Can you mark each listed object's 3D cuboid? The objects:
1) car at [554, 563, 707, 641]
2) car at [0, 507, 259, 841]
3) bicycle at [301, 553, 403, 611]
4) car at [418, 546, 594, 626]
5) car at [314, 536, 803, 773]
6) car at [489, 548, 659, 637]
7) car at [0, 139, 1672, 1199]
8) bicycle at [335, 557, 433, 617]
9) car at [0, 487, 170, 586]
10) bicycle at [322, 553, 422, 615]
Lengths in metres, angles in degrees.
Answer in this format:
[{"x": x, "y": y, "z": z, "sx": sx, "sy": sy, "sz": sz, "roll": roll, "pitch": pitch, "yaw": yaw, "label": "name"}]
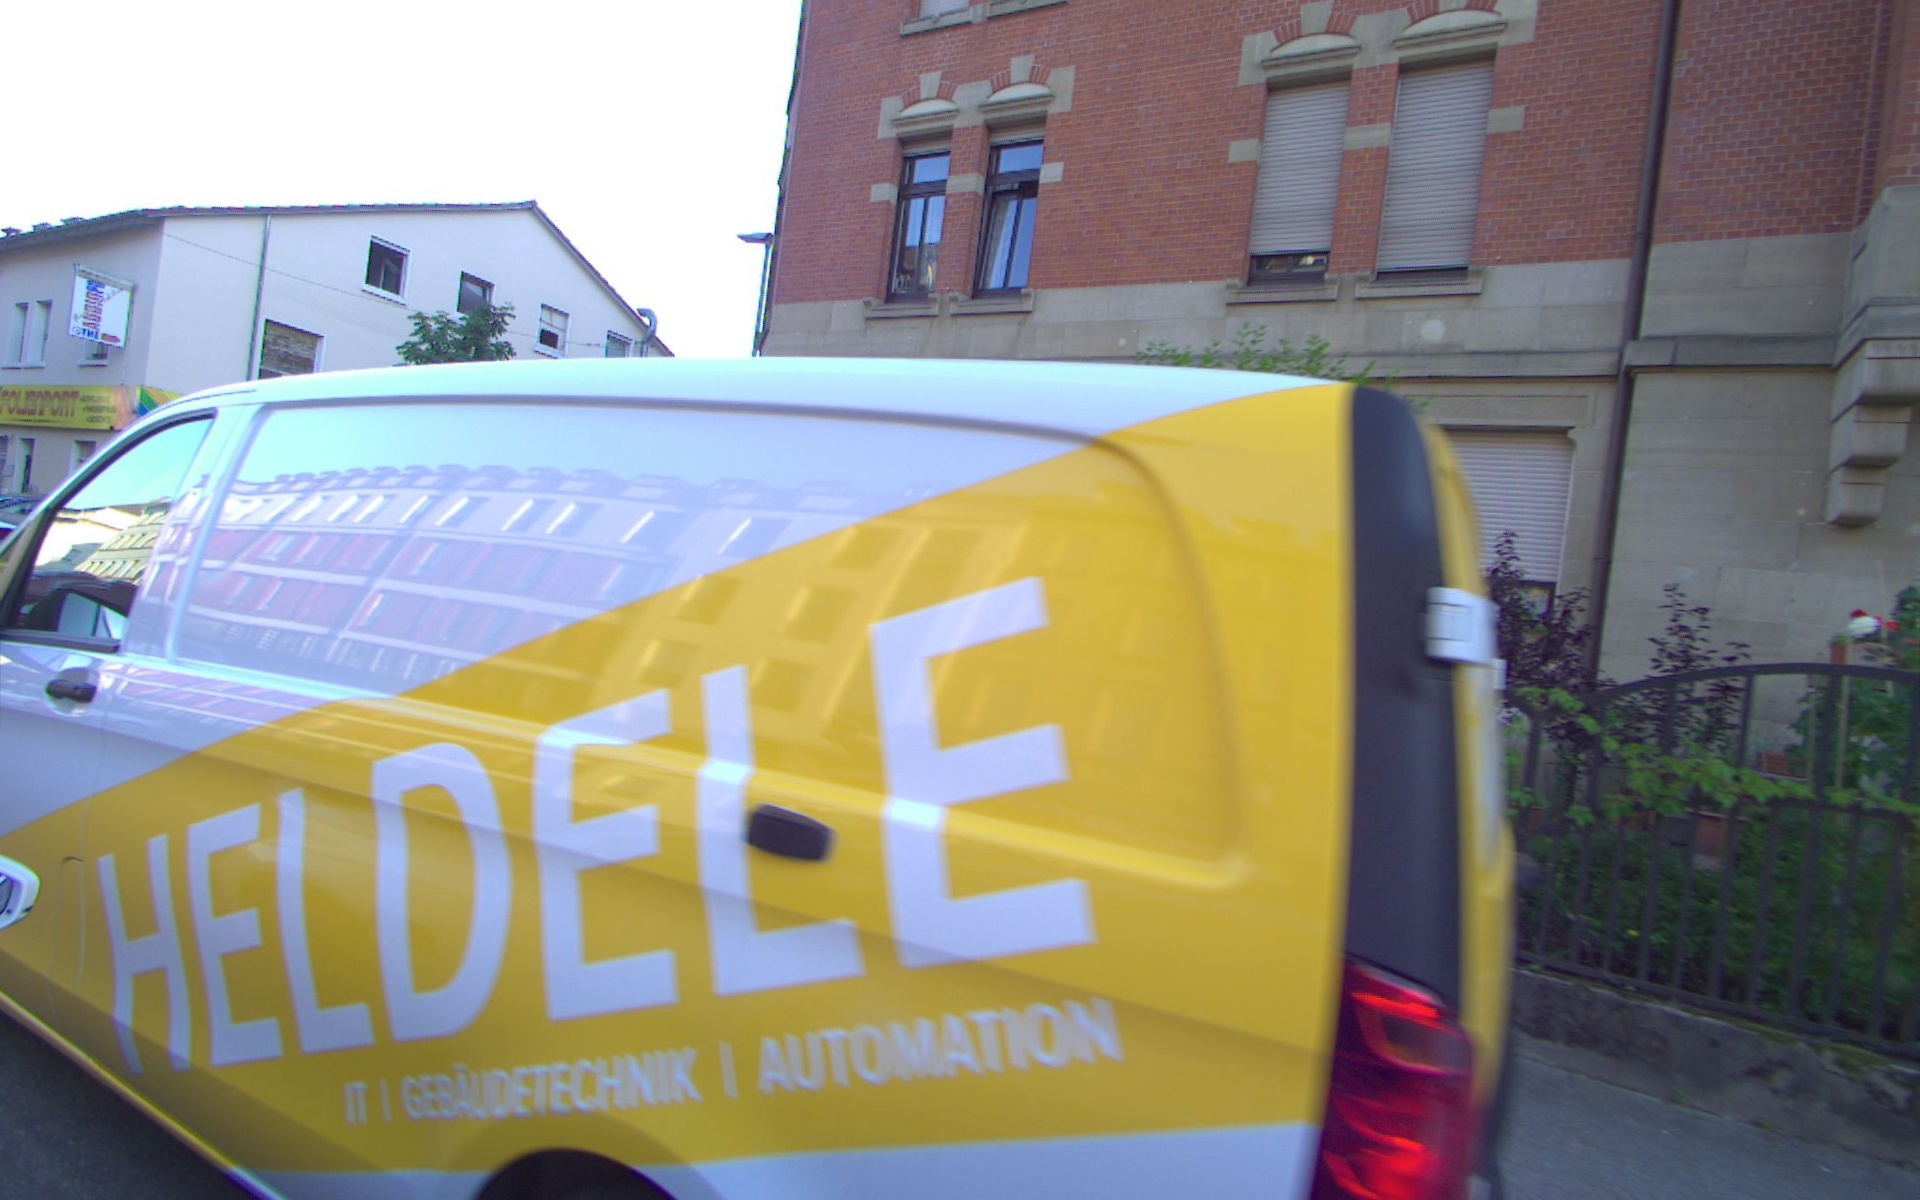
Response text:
[{"x": -10.034, "y": 0.051, "z": 30.563, "sx": 4.259, "sy": 1.924, "sz": 1.876, "roll": 5, "pitch": -1, "yaw": 29, "label": "car"}, {"x": -5.923, "y": 0.131, "z": 5.479, "sx": 4.181, "sy": 1.440, "sz": 1.726, "roll": 7, "pitch": -2, "yaw": 30, "label": "car"}, {"x": -13.493, "y": -0.382, "z": 22.373, "sx": 0.421, "sy": 1.022, "sz": 1.854, "roll": 10, "pitch": -1, "yaw": 31, "label": "bicycle"}, {"x": -11.956, "y": -0.374, "z": 26.442, "sx": 4.493, "sy": 1.528, "sz": 1.745, "roll": 7, "pitch": -1, "yaw": 28, "label": "car"}, {"x": -3.768, "y": 0.386, "z": 9.248, "sx": 4.347, "sy": 1.442, "sz": 1.728, "roll": 7, "pitch": 1, "yaw": 29, "label": "car"}, {"x": -10.923, "y": -0.224, "z": 28.426, "sx": 4.498, "sy": 1.854, "sz": 1.876, "roll": 8, "pitch": 0, "yaw": 29, "label": "car"}, {"x": -1.280, "y": 0.426, "z": 2.827, "sx": 4.995, "sy": 1.906, "sz": 1.897, "roll": 7, "pitch": -1, "yaw": 30, "label": "car"}, {"x": -12.522, "y": -0.252, "z": 21.934, "sx": 0.420, "sy": 1.087, "sz": 1.856, "roll": 10, "pitch": -1, "yaw": 22, "label": "bicycle"}, {"x": -17.548, "y": -1.272, "z": 18.720, "sx": 1.726, "sy": 1.533, "sz": 4.055, "roll": 9, "pitch": 1, "yaw": 31, "label": "car"}, {"x": -12.902, "y": -0.330, "z": 22.141, "sx": 0.420, "sy": 1.141, "sz": 1.925, "roll": 8, "pitch": -1, "yaw": 22, "label": "bicycle"}]
